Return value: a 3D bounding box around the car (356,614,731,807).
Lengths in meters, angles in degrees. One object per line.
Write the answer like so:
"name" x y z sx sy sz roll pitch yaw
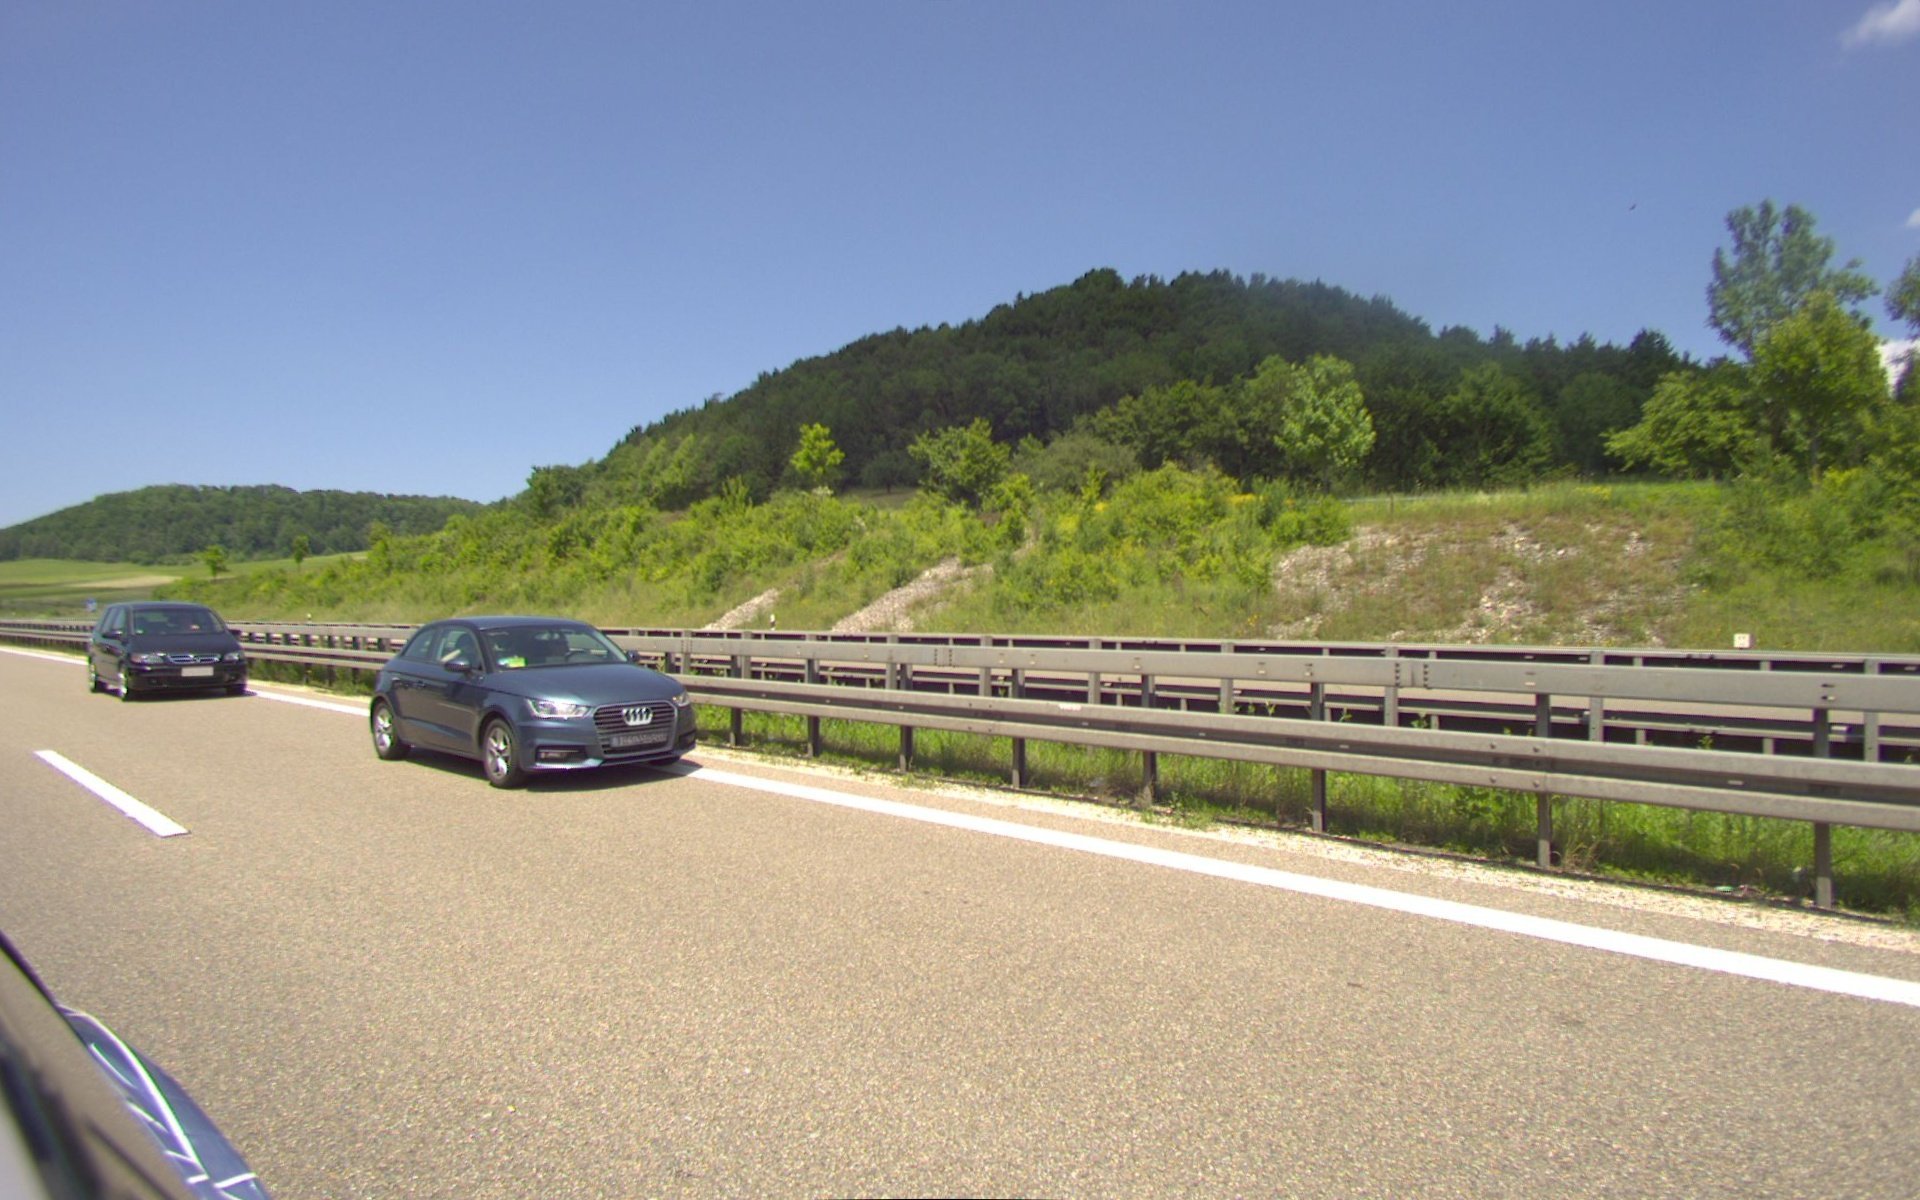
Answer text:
"car" -3.985 0.838 9.365 3.999 1.399 1.670 -1 -1 42

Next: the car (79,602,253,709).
"car" -14.049 0.887 17.818 4.446 1.647 1.781 -1 -1 43

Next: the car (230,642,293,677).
"car" -38.761 3.273 56.153 3.998 1.725 1.973 0 0 41
